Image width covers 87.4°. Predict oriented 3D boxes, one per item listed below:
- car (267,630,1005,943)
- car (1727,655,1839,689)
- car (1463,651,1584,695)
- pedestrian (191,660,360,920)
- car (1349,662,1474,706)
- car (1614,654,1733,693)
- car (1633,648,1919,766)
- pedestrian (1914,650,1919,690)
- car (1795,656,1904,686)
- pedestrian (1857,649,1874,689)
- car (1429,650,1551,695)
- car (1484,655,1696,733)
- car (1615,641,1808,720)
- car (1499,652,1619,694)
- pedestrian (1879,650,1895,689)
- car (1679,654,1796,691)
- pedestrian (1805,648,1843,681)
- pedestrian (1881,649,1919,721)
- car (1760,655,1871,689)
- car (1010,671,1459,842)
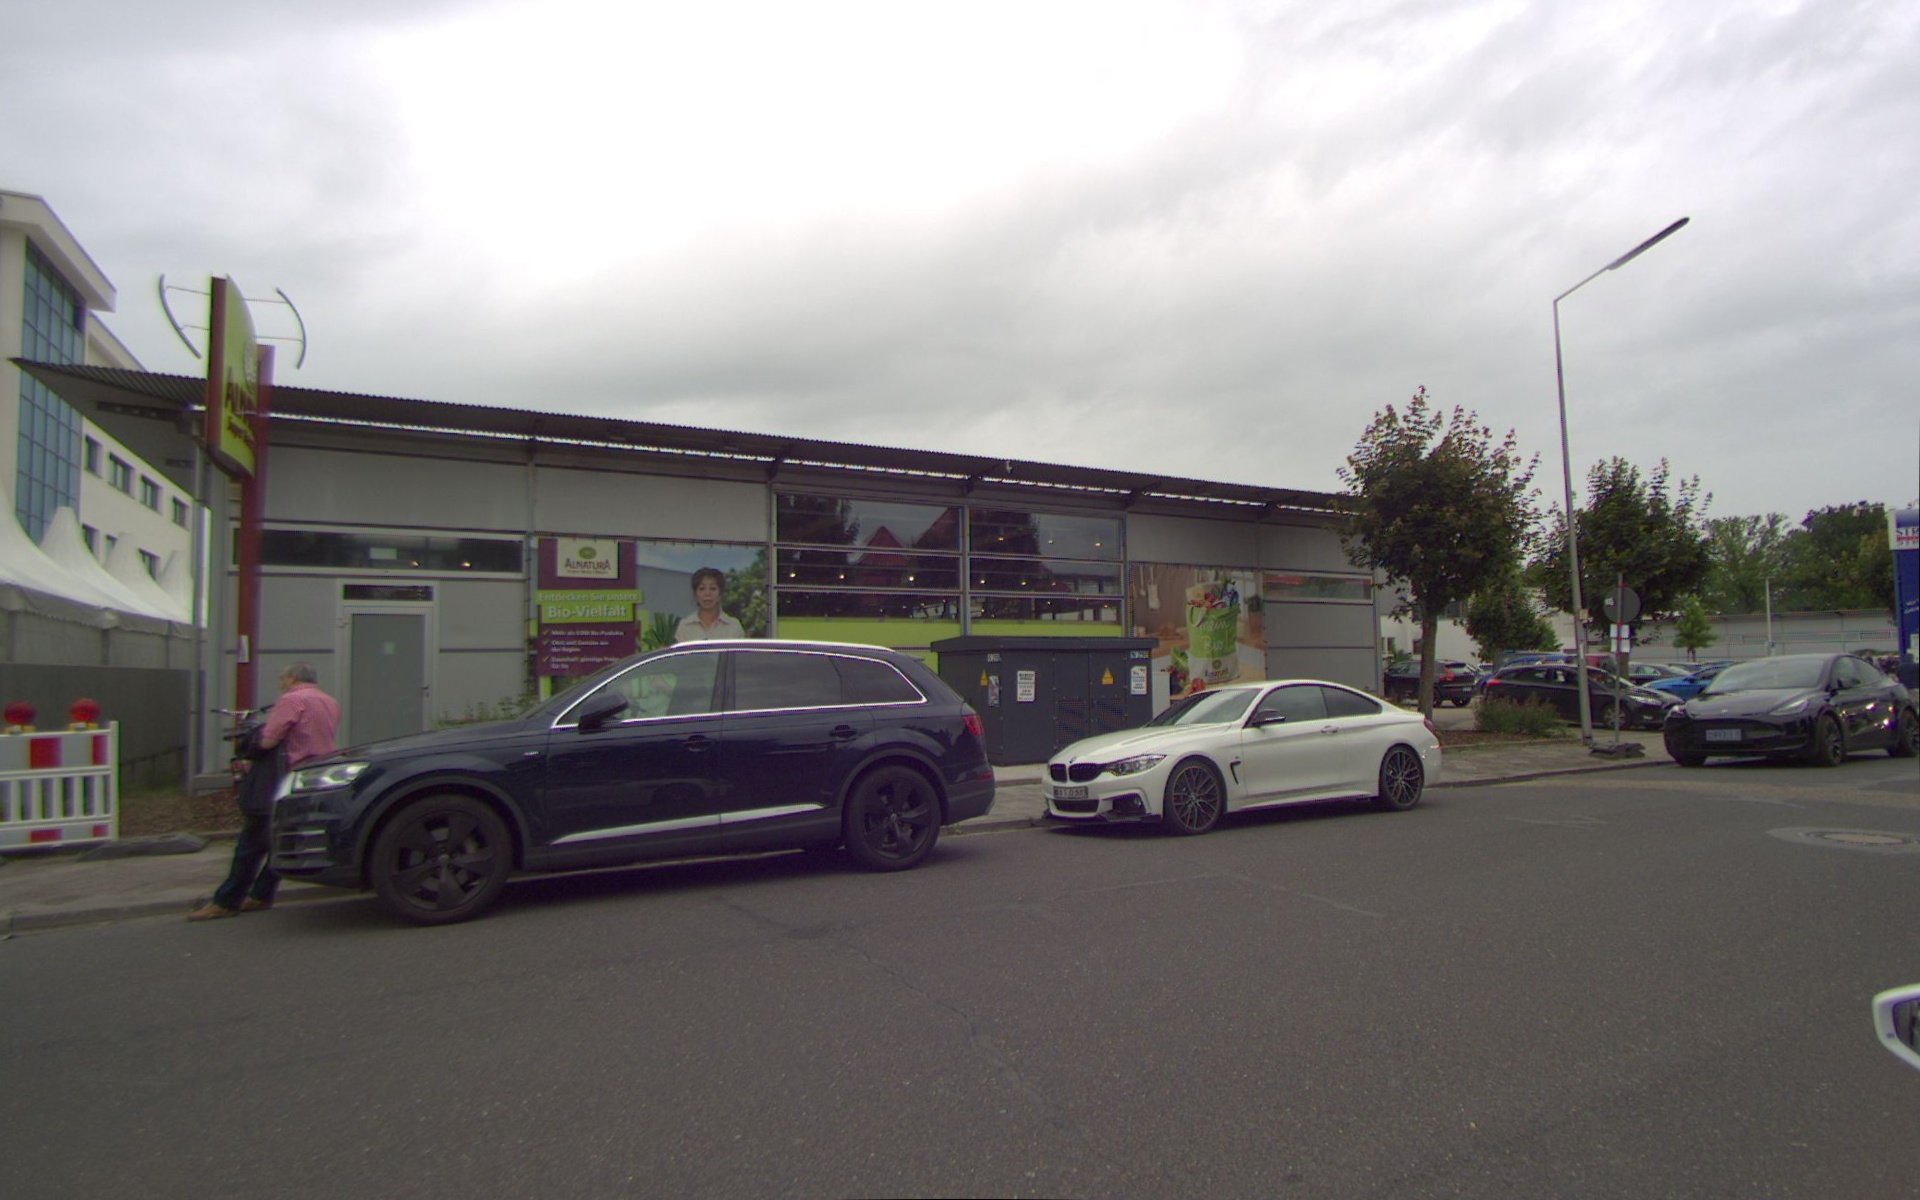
[{"bbox_3d":[-2.164,1.189,7.492,4.669,1.712,1.860,1,-8,-28],"label":"car"},{"bbox_3d":[42.047,3.680,51.399,1.853,1.690,3.973,1,-4,-28],"label":"car"},{"bbox_3d":[23.268,3.024,41.633,1.853,1.690,3.973,1,-4,-28],"label":"car"},{"bbox_3d":[-4.658,1.266,6.869,0.641,1.641,0.675,-6,-8,25],"label":"pedestrian"},{"bbox_3d":[16.358,3.028,36.434,3.930,1.504,1.873,-3,-5,30],"label":"car"},{"bbox_3d":[32.570,3.340,45.956,1.853,1.690,3.973,1,-4,-28],"label":"car"},{"bbox_3d":[12.419,1.598,15.156,4.351,1.545,1.940,2,-8,-30],"label":"car"},{"bbox_3d":[38.716,2.821,40.450,0.500,1.590,0.327,2,-3,-40],"label":"pedestrian"},{"bbox_3d":[47.744,3.820,54.014,1.763,1.511,3.974,1,-4,-27],"label":"car"},{"bbox_3d":[38.082,2.887,42.246,0.450,1.663,0.372,-4,-5,44],"label":"pedestrian"},{"bbox_3d":[21.319,2.917,40.550,1.853,1.690,3.973,1,-4,-28],"label":"car"},{"bbox_3d":[14.900,2.156,23.981,1.903,1.641,3.860,1,-3,-27],"label":"car"},{"bbox_3d":[20.909,2.240,28.092,1.743,2.039,3.906,2,-5,-34],"label":"car"},{"bbox_3d":[25.384,3.103,42.728,1.853,1.690,3.973,1,-4,-28],"label":"car"},{"bbox_3d":[38.543,2.880,41.776,0.500,1.590,0.356,2,-4,-39],"label":"pedestrian"},{"bbox_3d":[36.966,3.459,47.872,1.853,1.690,3.973,1,-4,-28],"label":"car"},{"bbox_3d":[53.936,4.026,62.723,1.361,2.039,1.211,-2,-4,22],"label":"pedestrian"},{"bbox_3d":[23.549,2.095,24.950,0.689,1.737,0.771,2,-3,-32],"label":"pedestrian"},{"bbox_3d":[44.508,3.755,52.331,1.853,1.690,3.973,1,-4,-28],"label":"car"},{"bbox_3d":[2.877,1.516,10.305,4.463,1.384,1.693,2,-9,-29],"label":"car"}]
